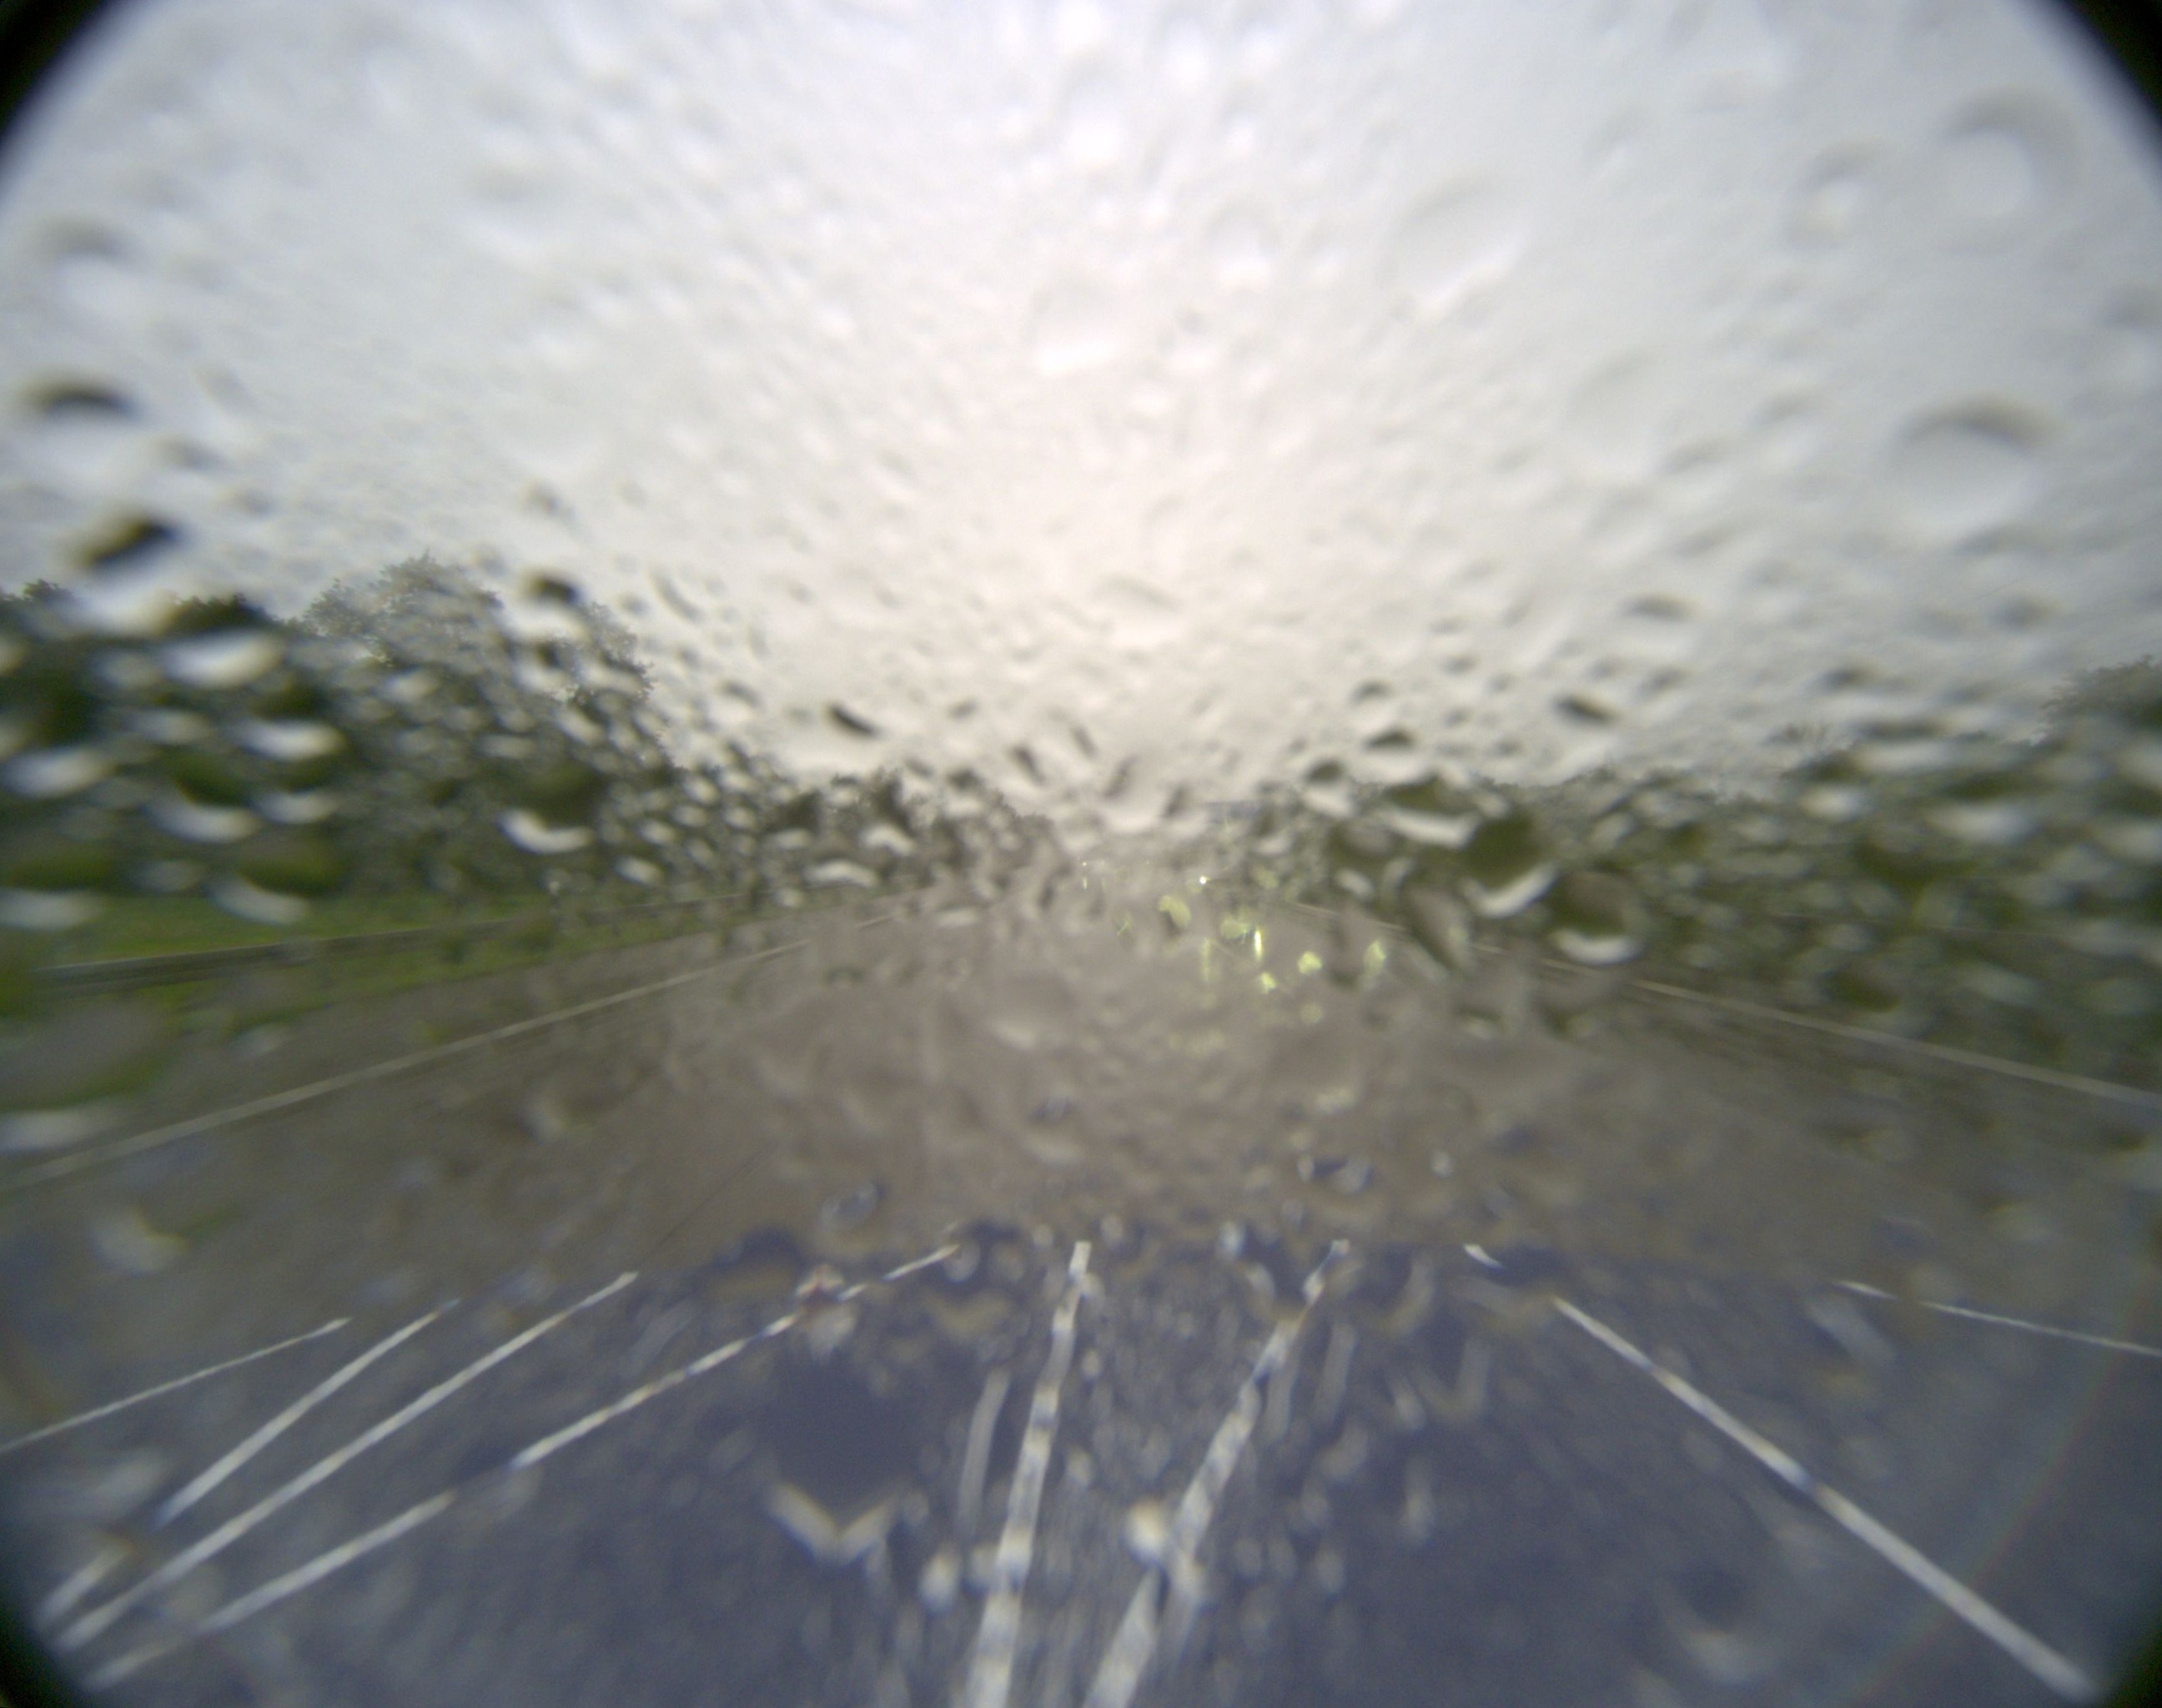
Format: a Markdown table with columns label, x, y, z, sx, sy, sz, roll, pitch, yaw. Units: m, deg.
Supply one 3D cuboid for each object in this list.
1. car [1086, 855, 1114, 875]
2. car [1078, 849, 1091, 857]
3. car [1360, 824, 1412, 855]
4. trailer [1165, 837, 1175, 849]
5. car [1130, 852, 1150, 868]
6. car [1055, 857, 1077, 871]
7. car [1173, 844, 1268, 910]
| label | x | y | z | sx | sy | sz | roll | pitch | yaw |
| --- | --- | --- | --- | --- | --- | --- | --- | --- | --- |
| car | 1.457 | 0.793 | 56.946 | 1.752 | 1.406 | 4.002 | -1 | 0 | 6 |
| car | 0.661 | -0.182 | 131.937 | 1.752 | 1.205 | 4.002 | -5 | 0 | 6 |
| car | 22.343 | -1.008 | 55.812 | 1.824 | 2.002 | 4.836 | -5 | 0 | 2 |
| trailer | 29.916 | -3.781 | 256.808 | 2.338 | 3.700 | 13.932 | -5 | 0 | 4 |
| car | 5.554 | 0.543 | 71.046 | 1.752 | 1.369 | 4.001 | -3 | 1 | 6 |
| car | -1.631 | 1.049 | 81.320 | 1.752 | 1.205 | 4.002 | -5 | 0 | 6 |
| car | 4.095 | 0.630 | 23.028 | 2.047 | 1.763 | 4.500 | -1 | 0 | 0 |
